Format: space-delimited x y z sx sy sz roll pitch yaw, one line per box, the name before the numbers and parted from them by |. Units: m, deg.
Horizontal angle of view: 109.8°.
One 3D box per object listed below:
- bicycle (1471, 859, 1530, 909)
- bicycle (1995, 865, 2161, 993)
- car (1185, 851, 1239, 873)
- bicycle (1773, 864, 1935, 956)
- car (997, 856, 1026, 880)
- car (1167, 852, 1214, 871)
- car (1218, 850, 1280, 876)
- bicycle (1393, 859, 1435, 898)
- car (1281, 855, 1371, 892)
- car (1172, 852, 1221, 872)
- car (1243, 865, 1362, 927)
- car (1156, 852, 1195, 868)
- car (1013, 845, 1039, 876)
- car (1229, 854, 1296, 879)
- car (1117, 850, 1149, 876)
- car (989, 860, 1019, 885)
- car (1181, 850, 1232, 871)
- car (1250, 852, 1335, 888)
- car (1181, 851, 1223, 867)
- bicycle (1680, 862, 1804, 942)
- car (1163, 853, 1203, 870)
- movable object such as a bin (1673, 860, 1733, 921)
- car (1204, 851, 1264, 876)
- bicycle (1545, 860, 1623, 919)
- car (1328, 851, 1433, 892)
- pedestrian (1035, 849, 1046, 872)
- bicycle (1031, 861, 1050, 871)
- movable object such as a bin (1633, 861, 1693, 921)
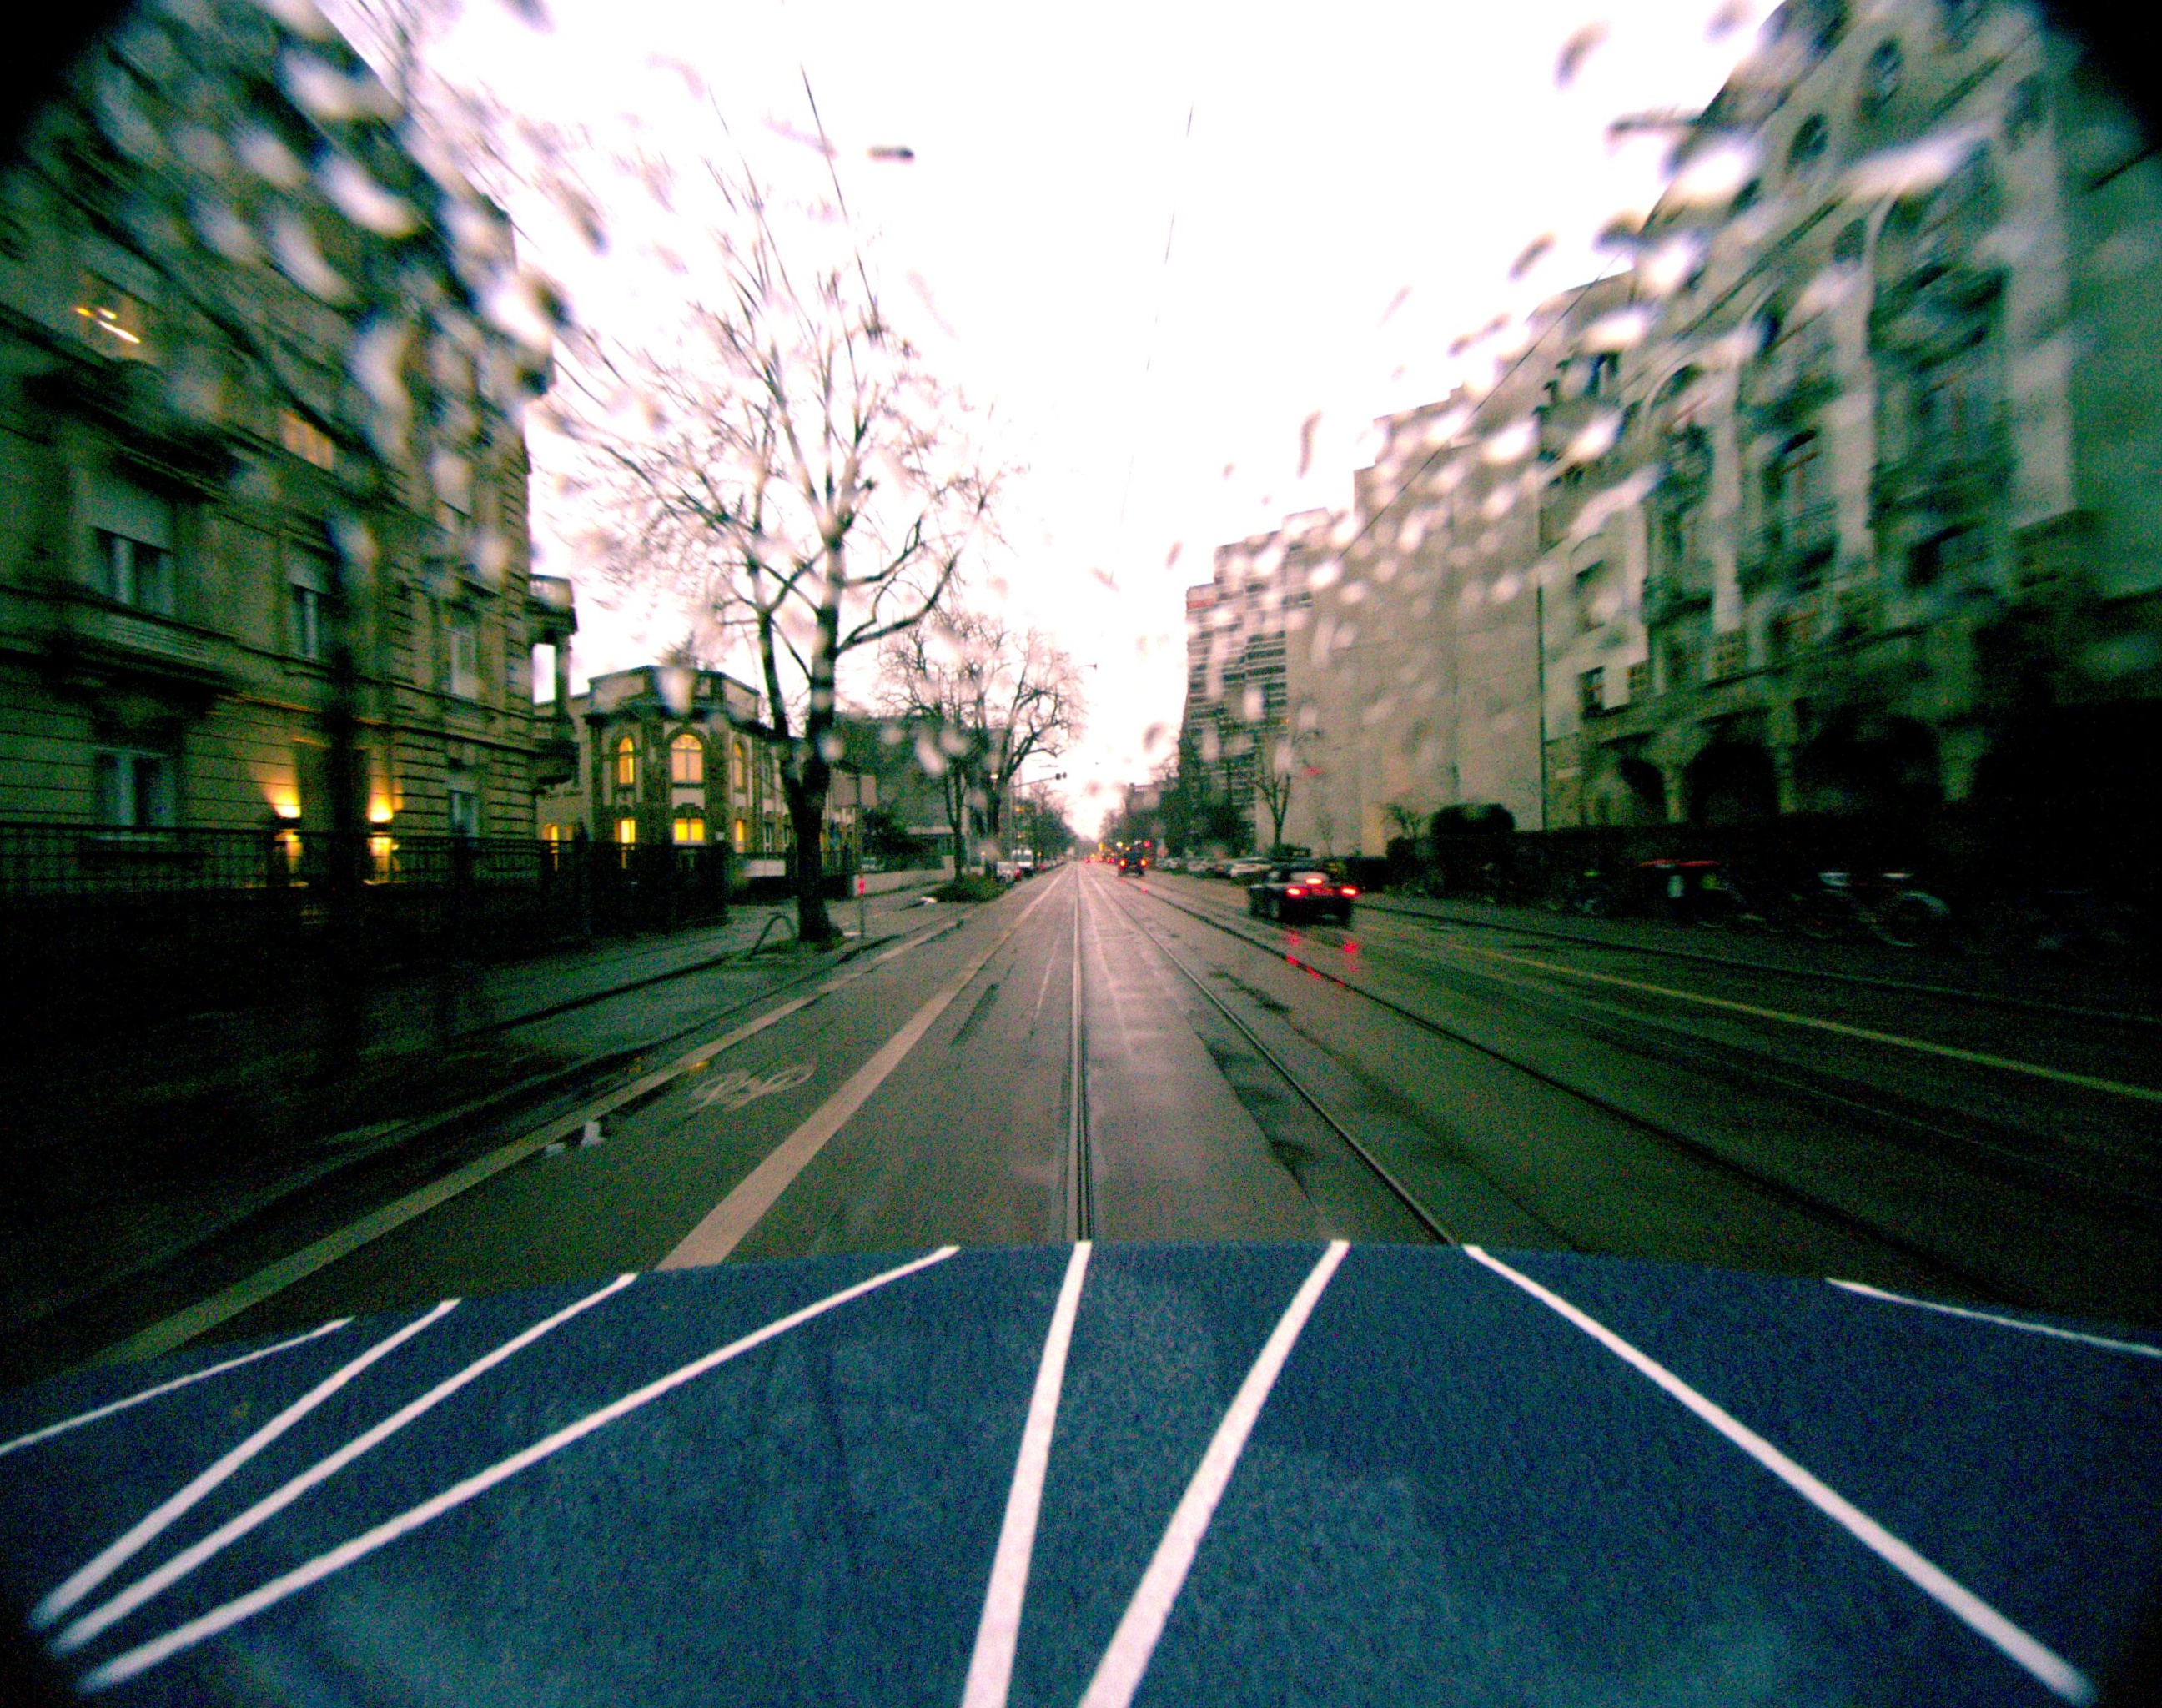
bicycle | 10.678 0.747 19.414 0.625 1.205 1.662 -1 0 2
bicycle | 10.851 0.740 7.945 0.625 1.205 1.662 -1 0 2
car | 10.389 0.601 60.143 4.007 1.586 1.864 -2 0 -37
bicycle | 10.777 0.735 10.680 0.625 1.157 1.662 -1 0 2
car | -5.303 1.031 58.541 1.999 1.672 3.998 -2 1 -3
car | 9.901 0.652 68.683 4.007 1.586 1.864 -2 0 -37
car | 11.325 0.618 50.996 4.007 1.586 1.864 -2 0 -37
bicycle | 10.624 0.769 24.308 0.625 1.157 1.662 -2 0 2
car | 10.881 0.826 33.595 4.007 1.477 1.760 -2 0 -37
car | 10.024 0.715 66.013 4.007 1.586 1.864 -2 0 -37
car | 5.170 0.932 18.215 1.711 1.245 3.665 -1 0 -1
car | 10.237 0.691 81.994 4.007 1.586 1.864 -2 0 -37
car | -4.901 0.507 68.484 2.093 2.622 5.447 -2 1 -3
car | 11.272 0.755 47.016 4.007 1.440 1.864 -2 0 -37
car | 4.241 0.695 62.612 2.238 2.002 4.460 -2 1 0
car | -4.894 1.147 48.555 1.628 1.399 3.998 -2 1 -3
car | 10.414 0.552 62.928 4.007 1.586 1.864 -2 0 -37
car | 10.246 0.748 36.746 4.007 1.586 1.864 -2 0 -37
car | 12.379 0.502 77.683 4.007 1.586 1.864 -2 0 -37
bicycle | 10.854 0.756 12.551 0.625 1.205 1.662 -1 0 2
car | 10.793 0.785 80.073 4.007 1.586 1.864 -2 0 -37
movable object such as a bin | 12.262 0.706 15.003 0.625 1.157 0.675 -1 0 3
car | 10.827 0.645 53.677 4.007 1.586 1.864 -2 0 -37
bicycle | 10.918 0.741 16.550 0.625 1.205 1.662 -1 0 2
car | 12.367 0.693 31.347 4.006 1.485 1.865 -2 0 -28
pedestrian | -4.192 0.661 78.558 1.118 2.246 0.952 -2 1 -3
bicycle | -4.172 1.229 78.571 1.918 0.986 0.858 -2 1 -2
movable object such as a bin | 11.576 0.723 15.129 0.659 1.157 0.675 -1 0 3
